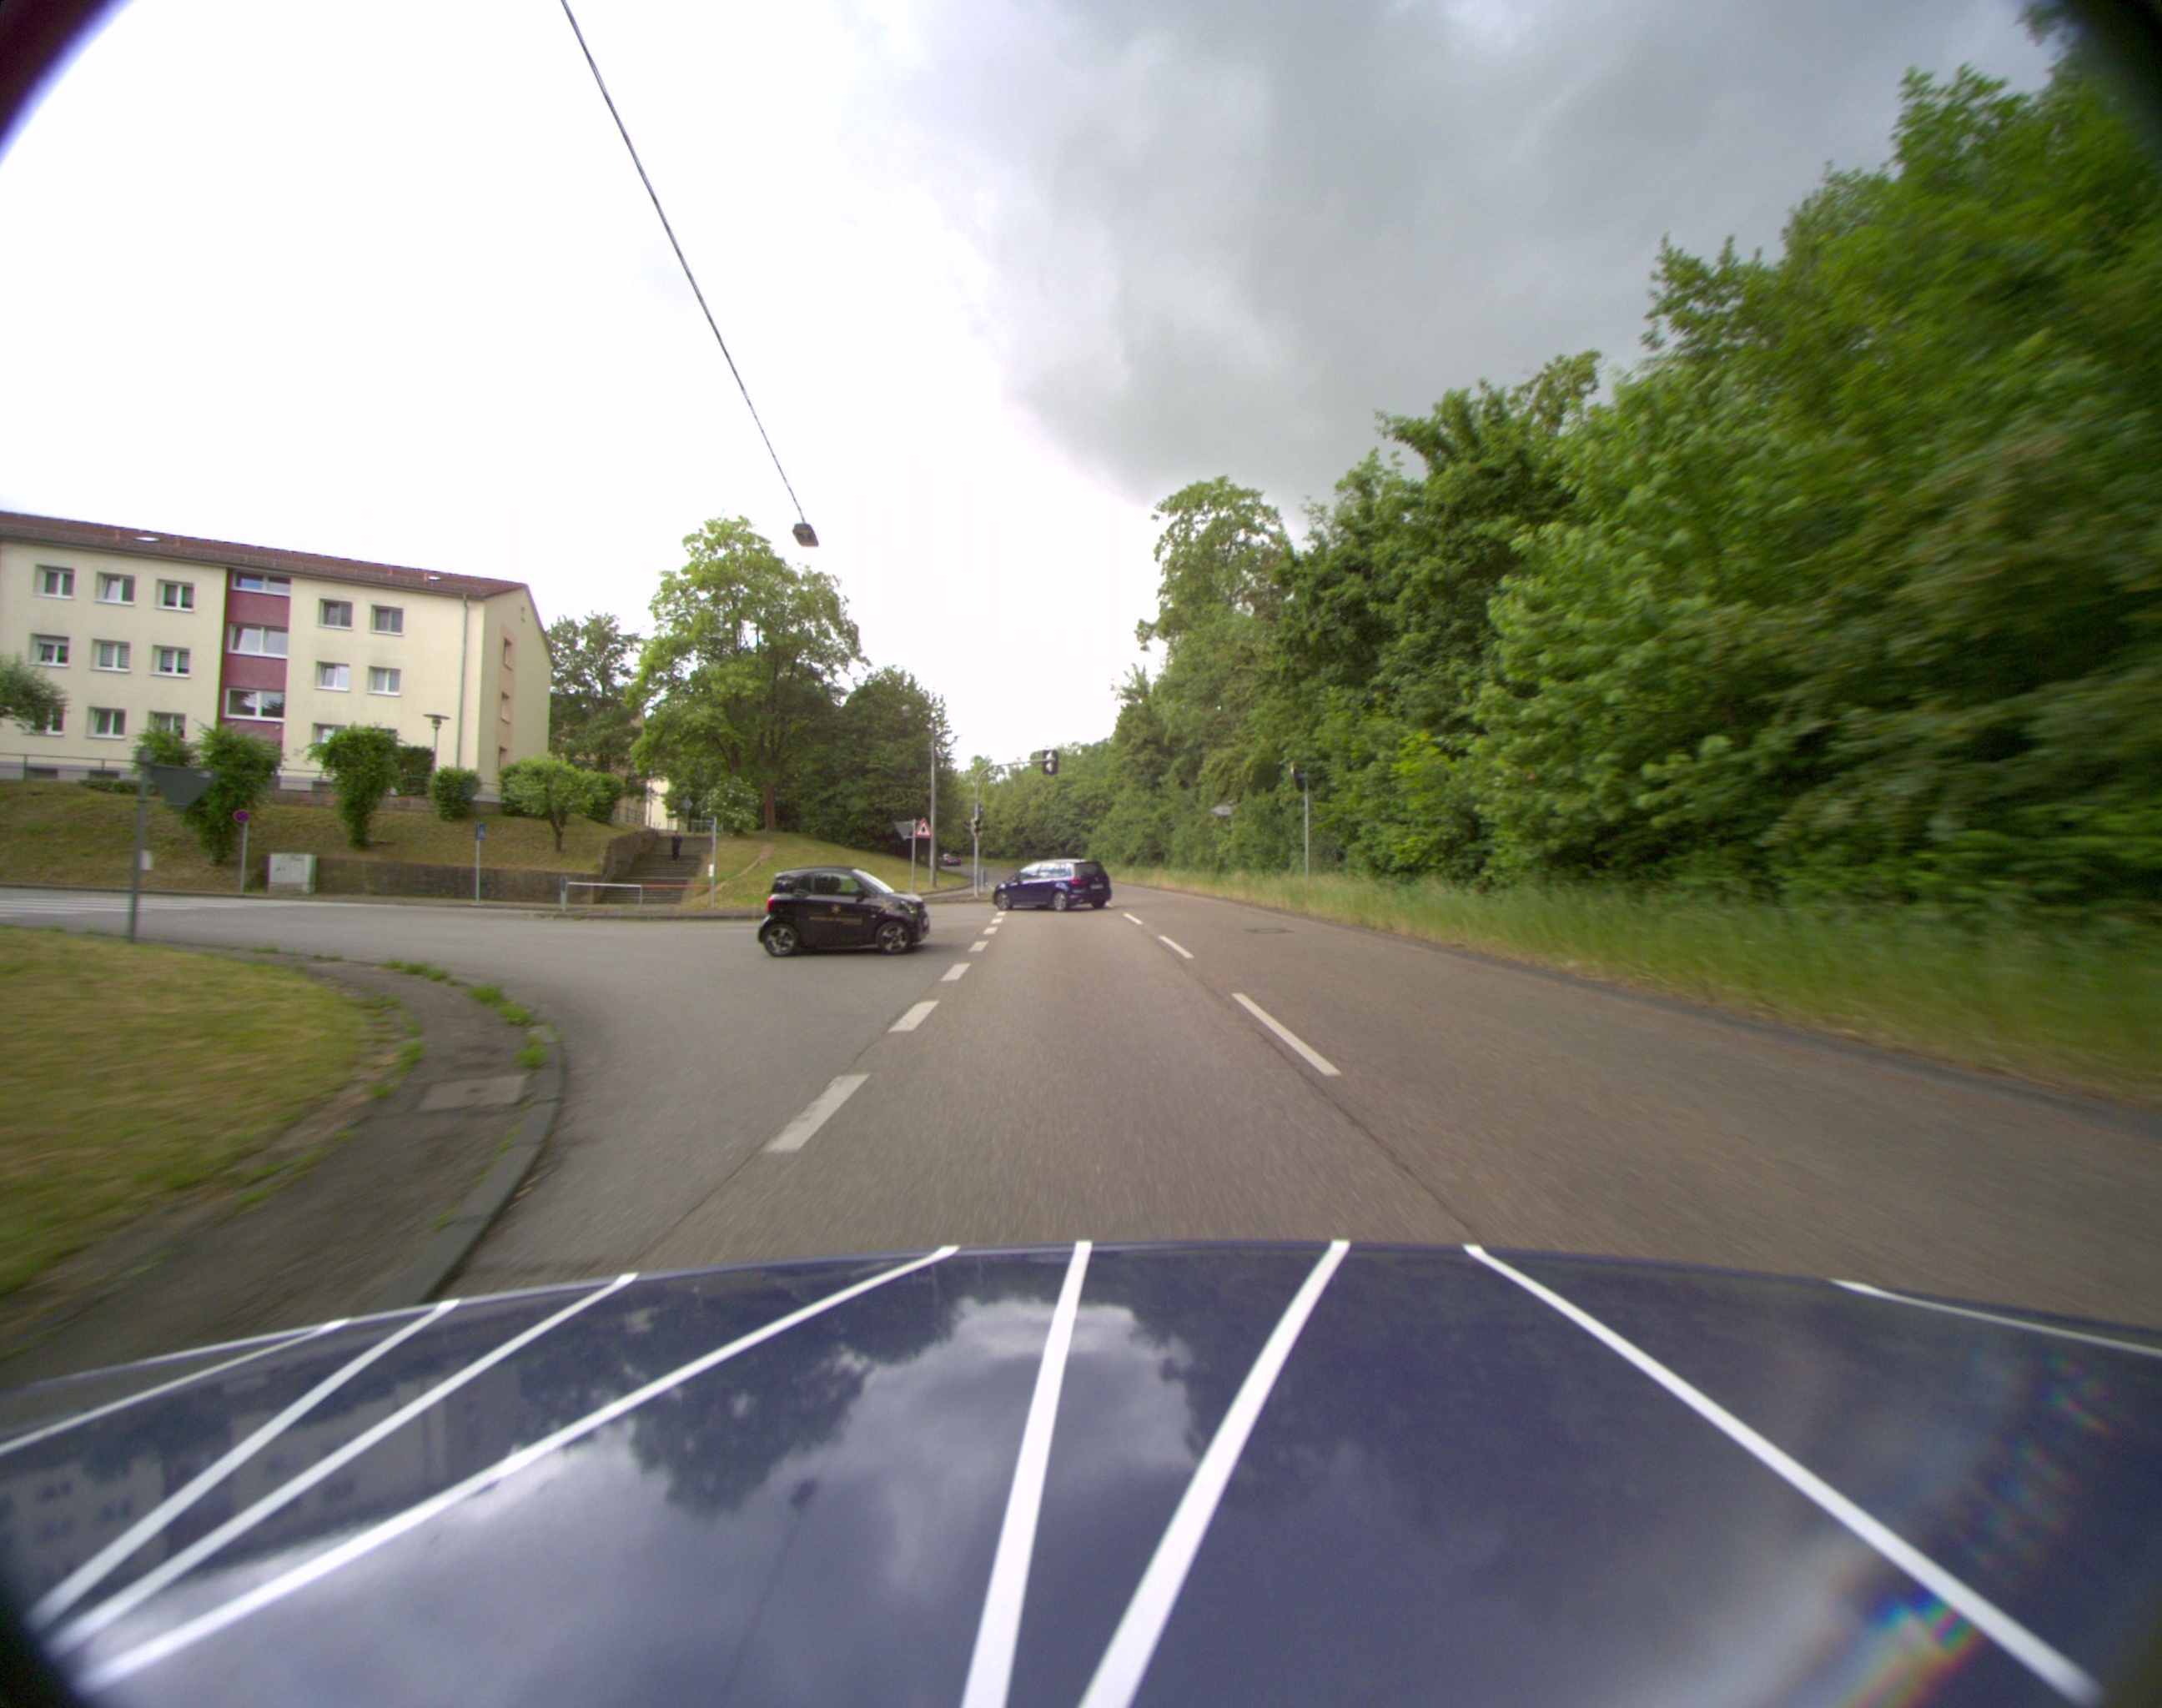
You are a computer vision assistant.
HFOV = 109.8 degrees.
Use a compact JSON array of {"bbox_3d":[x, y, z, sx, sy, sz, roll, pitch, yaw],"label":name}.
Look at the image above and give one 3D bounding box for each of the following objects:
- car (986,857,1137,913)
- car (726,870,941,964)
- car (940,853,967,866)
[{"bbox_3d":[-0.711,0.972,23.635,4.829,1.505,1.798,-3,0,45],"label":"car"},{"bbox_3d":[-4.303,1.071,13.603,3.313,1.486,1.667,-1,0,-4],"label":"car"},{"bbox_3d":[-15.891,0.641,94.609,1.907,1.347,4.830,-1,3,-26],"label":"car"}]
